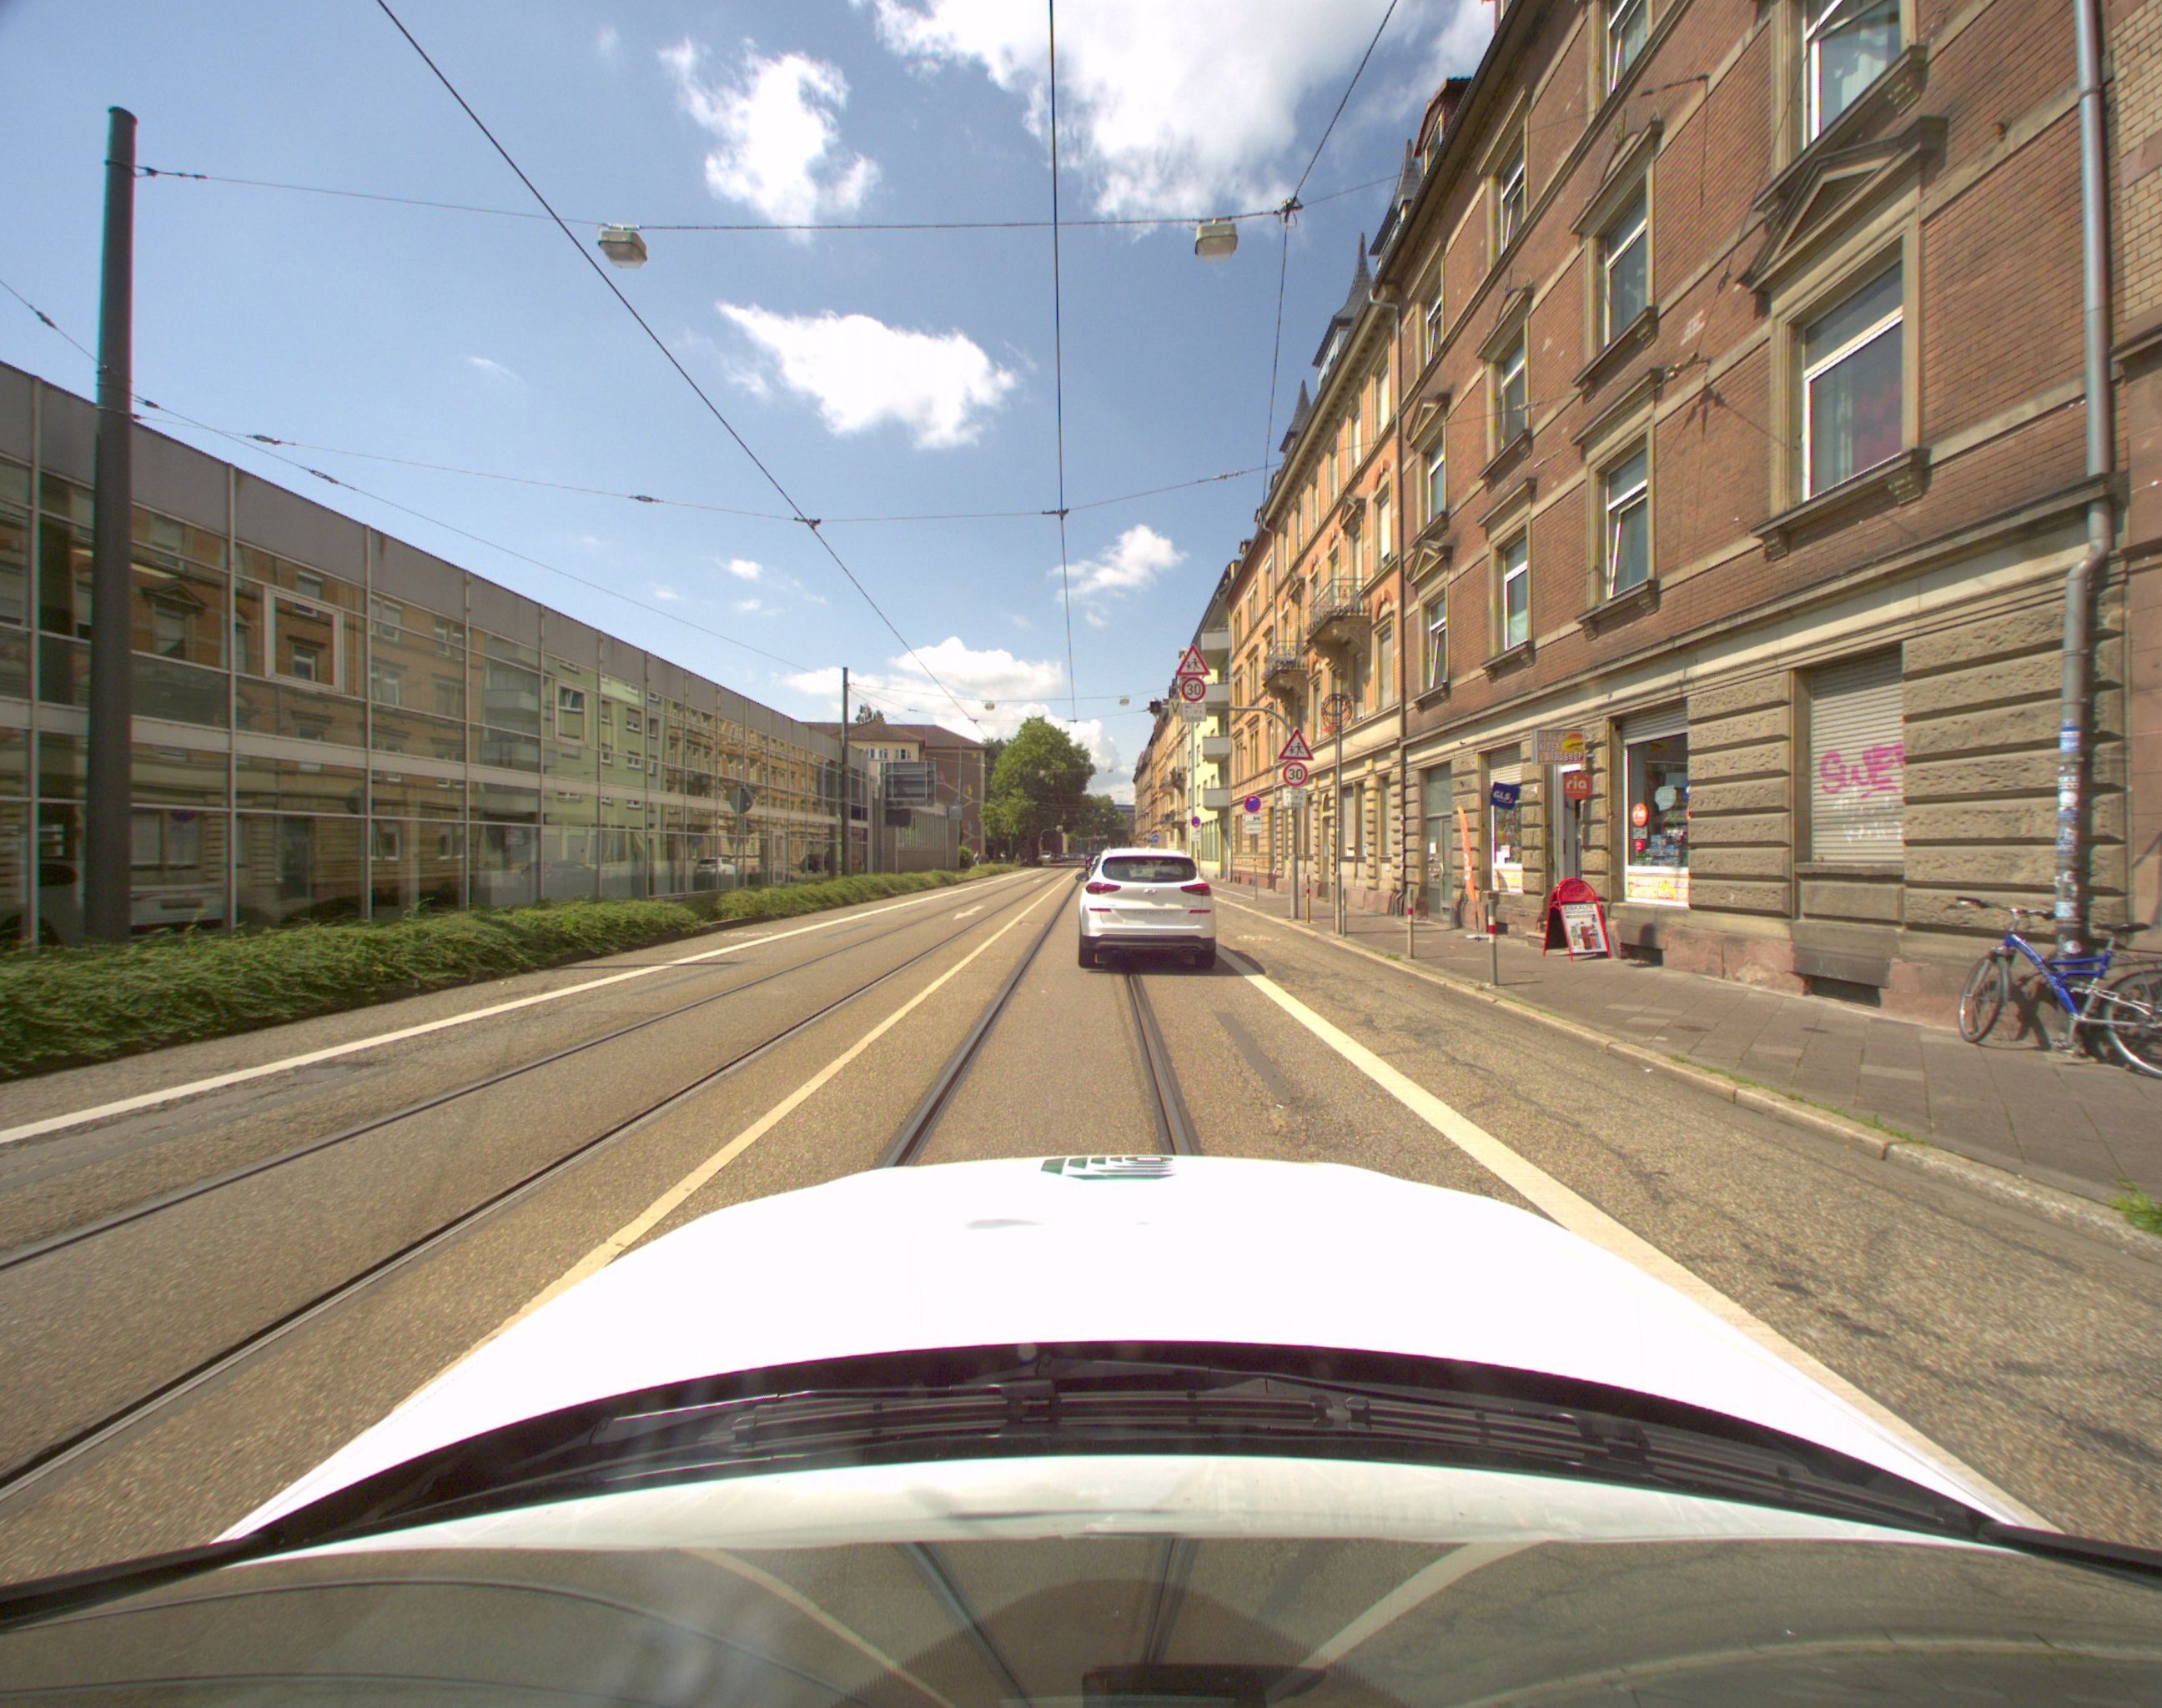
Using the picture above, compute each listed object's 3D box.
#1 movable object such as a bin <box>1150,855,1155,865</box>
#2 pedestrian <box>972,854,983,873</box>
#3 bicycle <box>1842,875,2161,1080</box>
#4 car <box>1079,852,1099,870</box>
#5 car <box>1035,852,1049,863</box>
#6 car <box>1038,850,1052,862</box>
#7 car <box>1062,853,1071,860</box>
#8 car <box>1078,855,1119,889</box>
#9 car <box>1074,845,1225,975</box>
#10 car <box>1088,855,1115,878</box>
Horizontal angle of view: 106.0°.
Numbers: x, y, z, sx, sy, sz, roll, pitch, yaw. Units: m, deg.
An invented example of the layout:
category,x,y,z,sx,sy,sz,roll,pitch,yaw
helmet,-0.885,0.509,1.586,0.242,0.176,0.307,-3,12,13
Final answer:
category,x,y,z,sx,sy,sz,roll,pitch,yaw
movable object such as a bin,8.306,0.690,94.783,0.610,1.143,0.639,0,0,1
pedestrian,-10.570,0.946,83.417,0.877,1.865,1.081,-1,0,1
bicycle,6.913,0.782,6.004,0.584,1.178,2.206,-1,0,2
car,0.763,0.633,76.040,1.808,1.661,4.086,0,0,1
car,-5.945,0.552,125.018,1.943,1.632,4.576,0,0,1
car,-5.734,0.295,130.803,1.943,1.895,4.566,0,0,1
car,-3.460,0.568,194.959,1.944,1.632,3.998,0,0,-1
car,0.867,0.821,38.756,1.807,1.524,4.087,-1,0,2
car,0.859,0.710,12.446,1.847,1.634,4.178,1,0,-1
car,1.391,0.859,56.602,1.808,1.524,3.956,0,0,1
